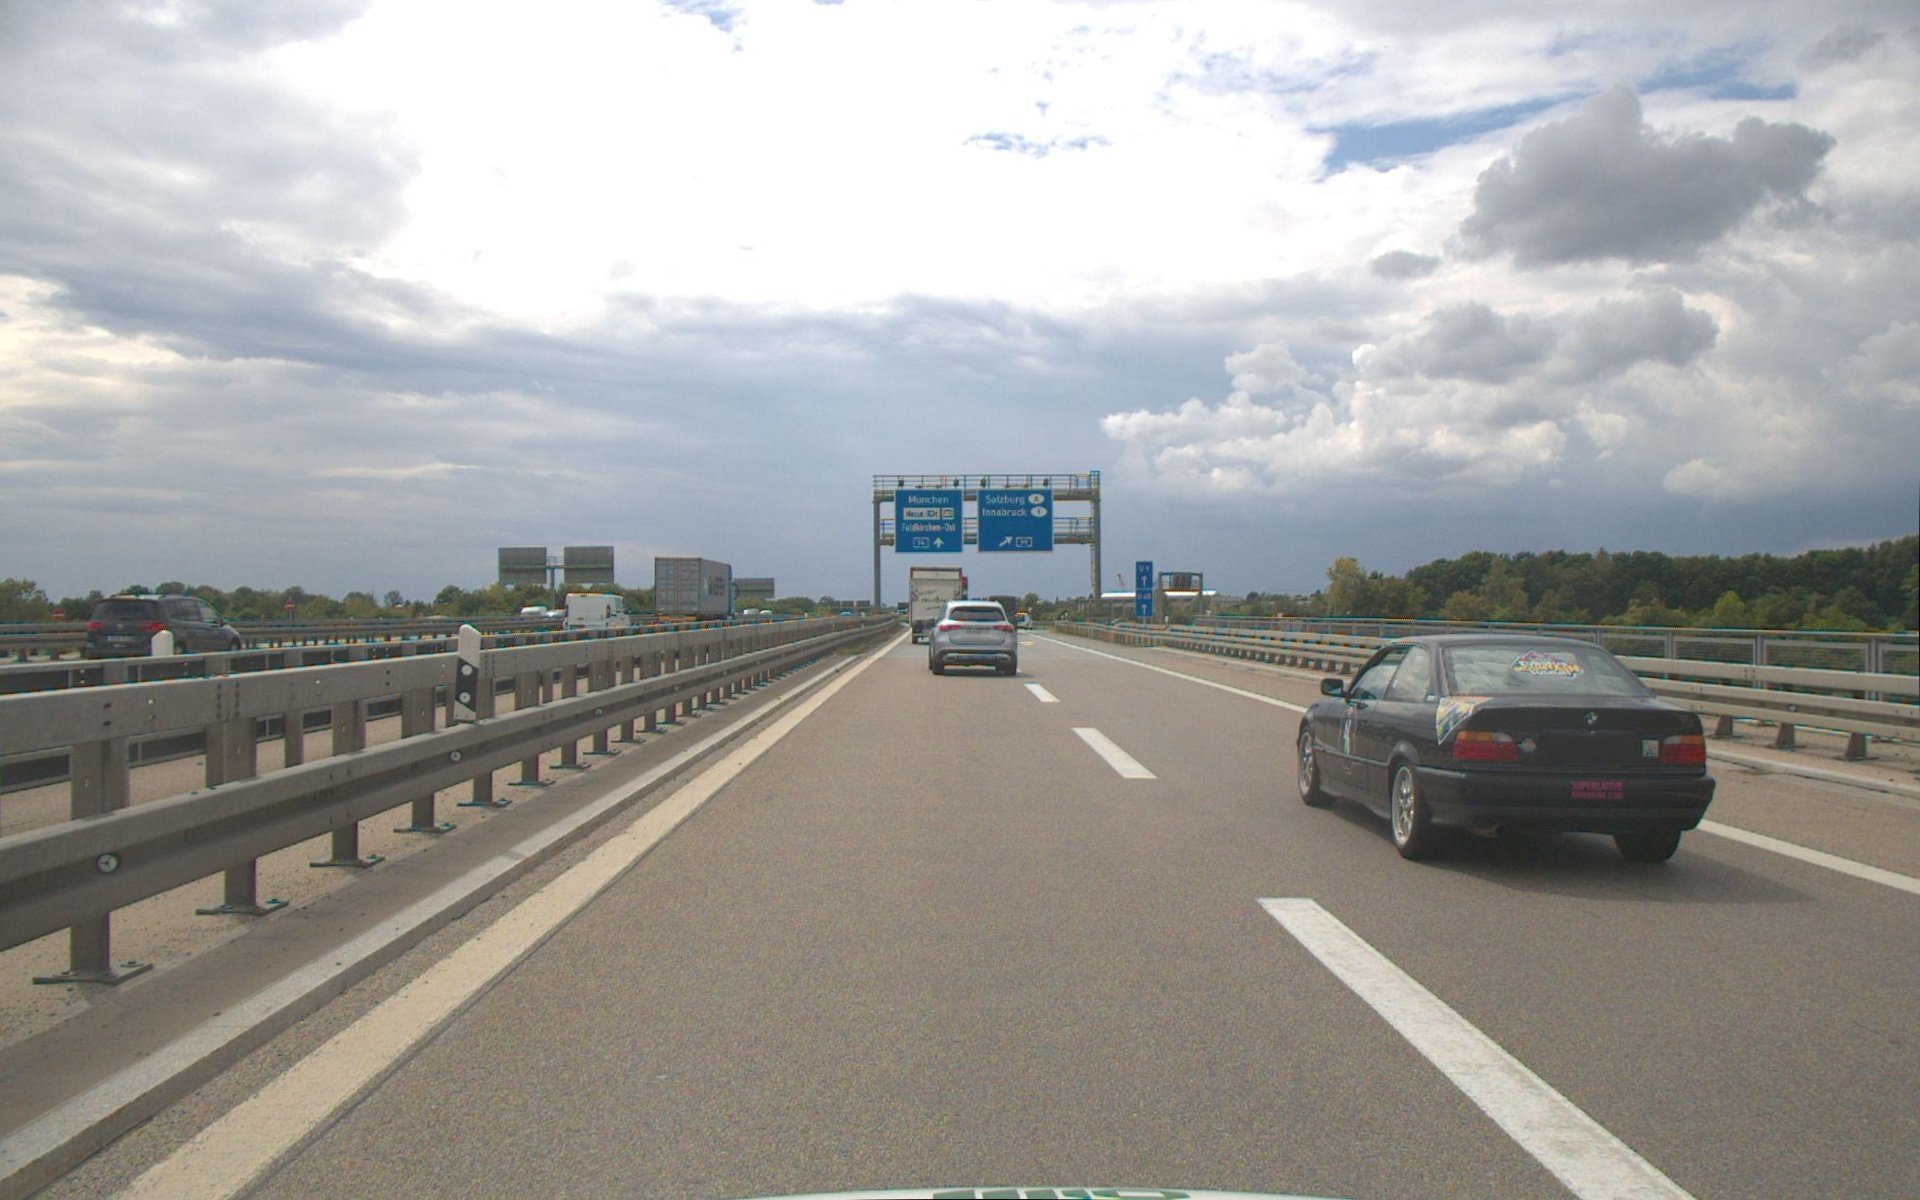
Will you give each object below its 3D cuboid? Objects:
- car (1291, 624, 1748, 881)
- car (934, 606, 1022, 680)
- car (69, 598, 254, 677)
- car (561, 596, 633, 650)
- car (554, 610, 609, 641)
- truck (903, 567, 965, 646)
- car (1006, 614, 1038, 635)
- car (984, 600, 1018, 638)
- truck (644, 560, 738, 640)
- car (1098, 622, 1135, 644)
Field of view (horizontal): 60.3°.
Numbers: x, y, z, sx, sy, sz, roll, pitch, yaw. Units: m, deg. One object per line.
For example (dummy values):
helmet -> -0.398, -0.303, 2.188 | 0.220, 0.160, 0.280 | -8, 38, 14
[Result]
car -> 3.508, 0.866, 11.260 | 1.669, 1.303, 4.366 | 1, 0, 1
car -> 0.358, 0.942, 37.651 | 1.783, 1.541, 3.998 | 1, 0, -2
car -> -17.333, 0.770, 36.167 | 1.843, 1.573, 4.614 | 1, 0, -1
car -> -14.480, 0.882, 66.169 | 1.953, 2.049, 4.373 | 1, 0, -1
car -> -18.917, 1.275, 82.755 | 1.761, 1.444, 4.000 | 1, 0, 1
truck -> -1.137, 0.347, 72.318 | 2.517, 3.181, 8.631 | 1, -1, -1
car -> 5.570, 2.159, 147.567 | 1.951, 1.739, 4.003 | 1, 0, 15
car -> 2.495, 1.145, 102.838 | 1.868, 2.301, 4.648 | 1, 0, -1
truck -> -15.016, -0.024, 93.693 | 3.119, 4.089, 16.069 | 1, 0, -2
car -> 16.332, 3.416, 172.640 | 1.751, 2.048, 3.979 | 3, -1, 40
